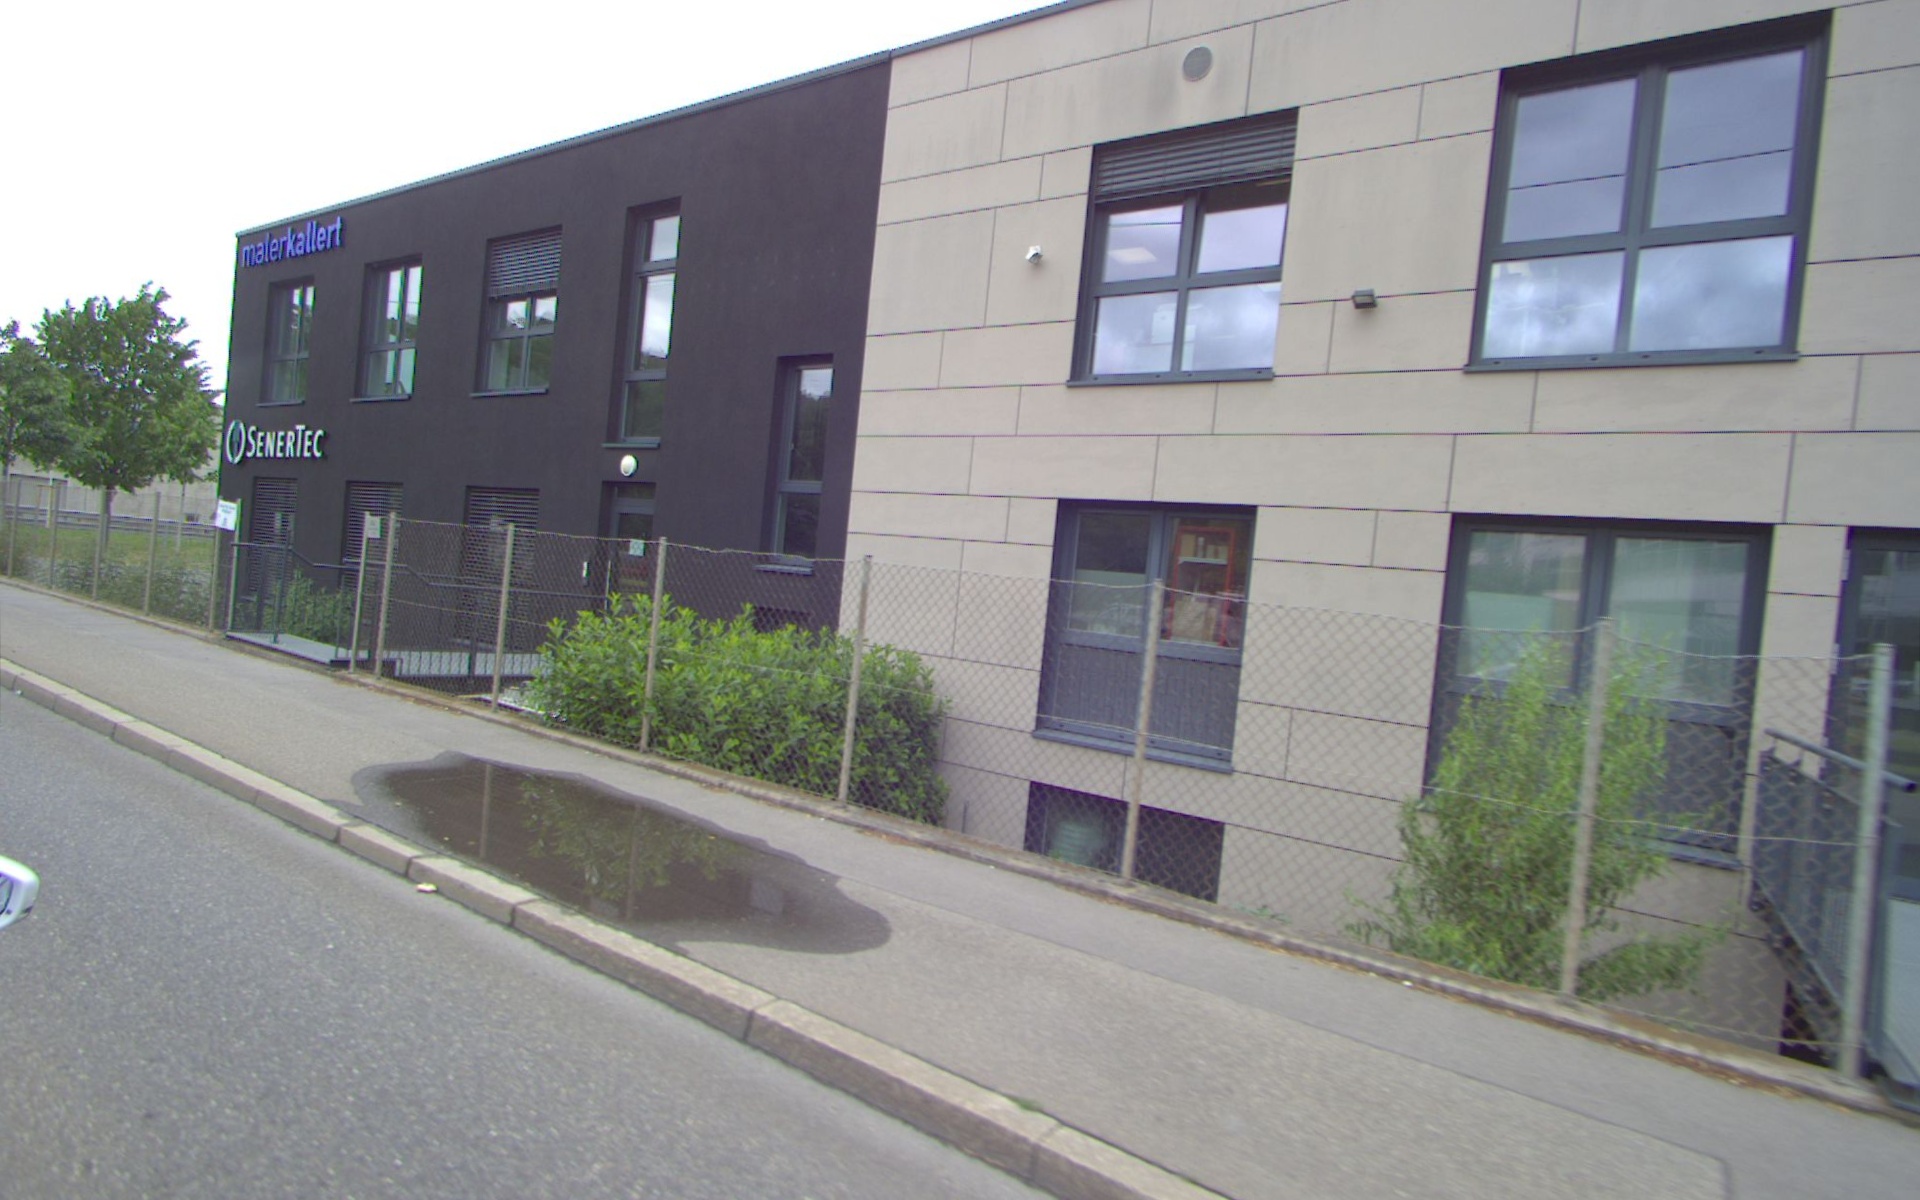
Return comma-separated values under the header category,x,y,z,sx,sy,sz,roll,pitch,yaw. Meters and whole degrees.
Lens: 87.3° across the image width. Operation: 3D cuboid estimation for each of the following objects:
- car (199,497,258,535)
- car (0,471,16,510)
category,x,y,z,sx,sy,sz,roll,pitch,yaw
car,-39.469,-4.567,54.238,3.947,1.728,1.823,7,1,44
car,-45.544,-5.206,47.023,3.755,1.728,1.823,7,1,44
